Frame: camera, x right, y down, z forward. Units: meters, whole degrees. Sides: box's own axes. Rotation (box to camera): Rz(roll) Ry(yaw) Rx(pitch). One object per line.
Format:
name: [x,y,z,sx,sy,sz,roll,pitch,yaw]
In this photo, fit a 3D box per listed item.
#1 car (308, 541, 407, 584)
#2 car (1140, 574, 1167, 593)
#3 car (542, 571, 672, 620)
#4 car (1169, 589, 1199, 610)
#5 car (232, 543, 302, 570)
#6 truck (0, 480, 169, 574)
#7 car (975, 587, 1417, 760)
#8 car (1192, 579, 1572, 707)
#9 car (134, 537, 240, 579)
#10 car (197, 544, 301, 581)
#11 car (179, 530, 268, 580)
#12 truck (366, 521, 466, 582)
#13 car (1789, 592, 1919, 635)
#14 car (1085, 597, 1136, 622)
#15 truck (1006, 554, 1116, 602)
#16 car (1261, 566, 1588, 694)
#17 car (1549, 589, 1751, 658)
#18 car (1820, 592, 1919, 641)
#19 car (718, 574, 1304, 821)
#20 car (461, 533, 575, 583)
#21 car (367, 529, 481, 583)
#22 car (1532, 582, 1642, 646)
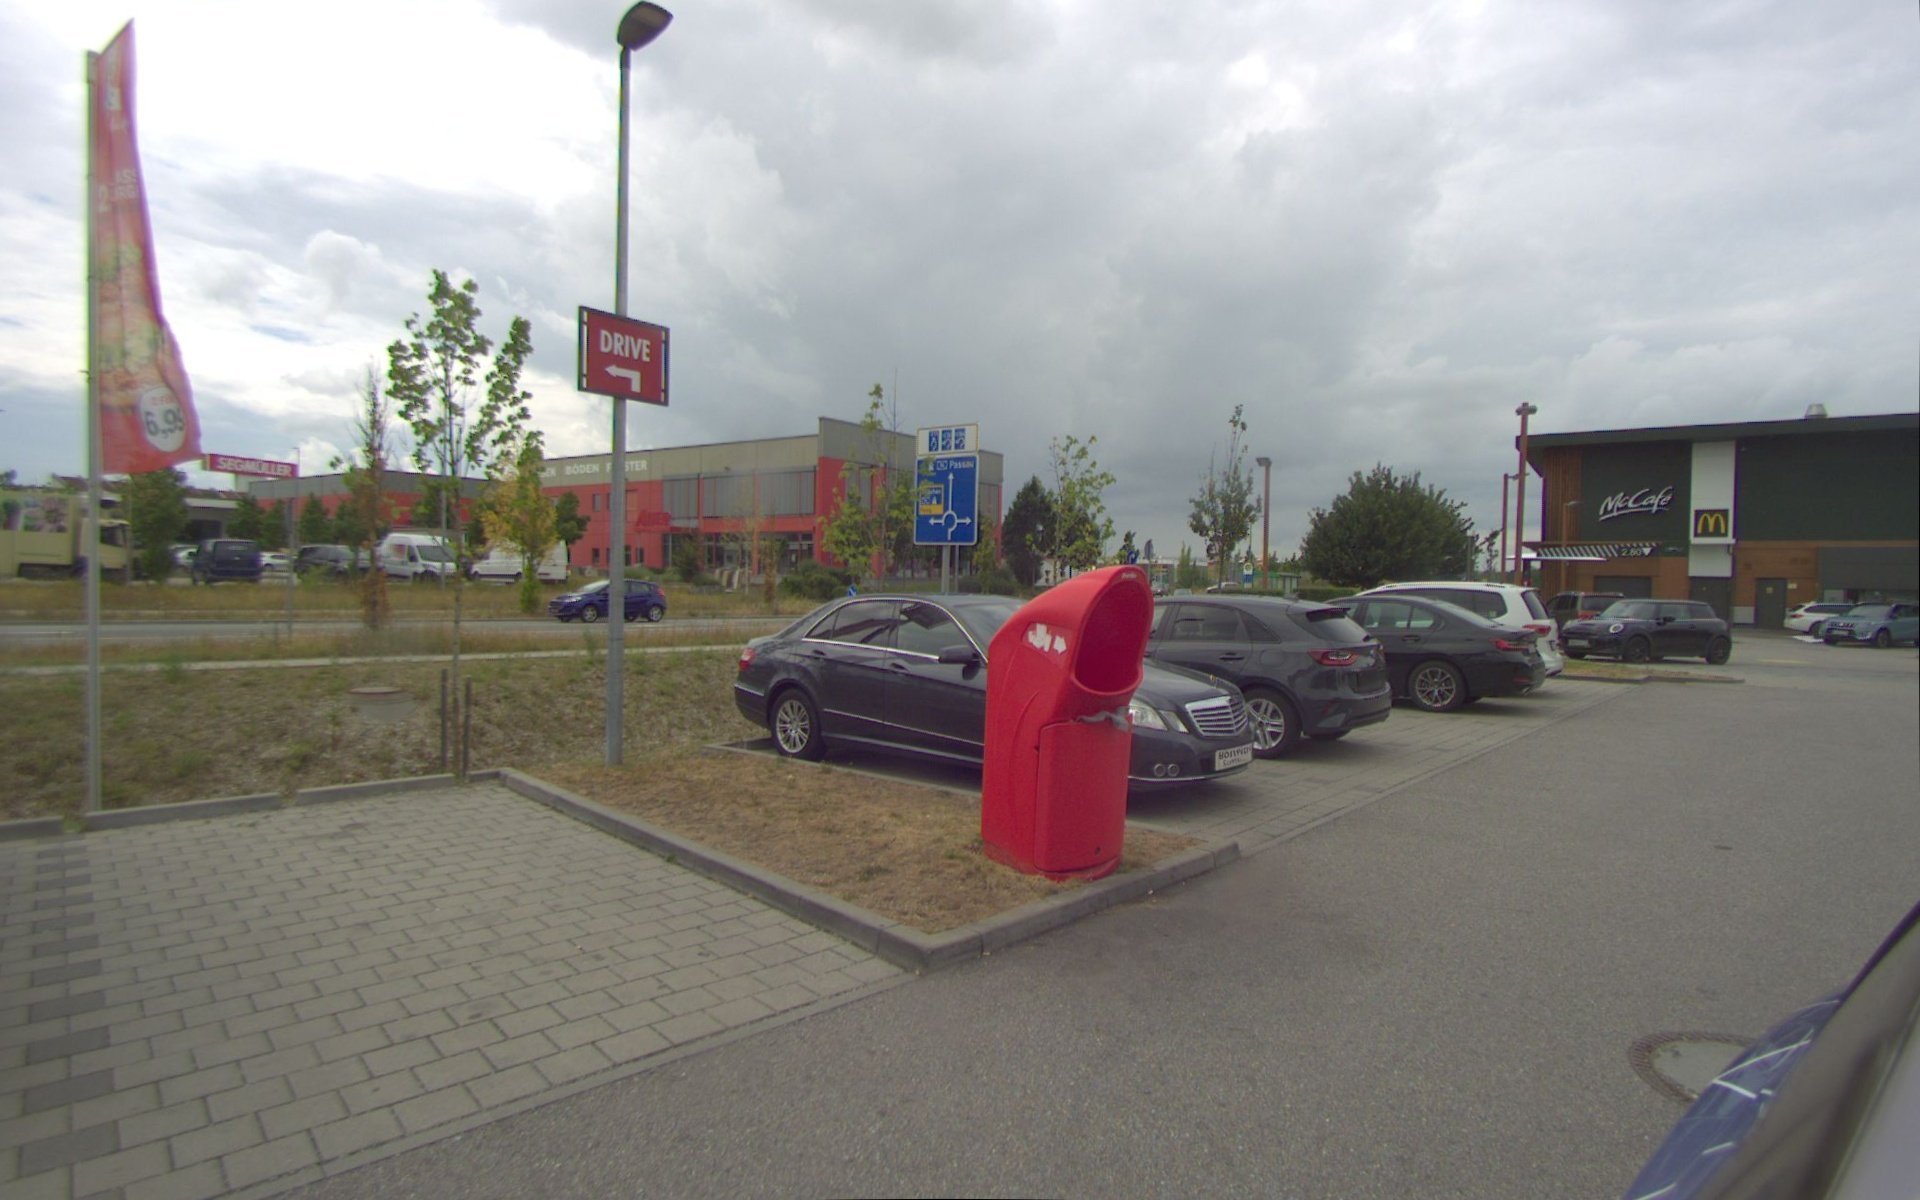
car: [-26.896,-1.691,45.122,5.043,1.659,2.050,4,2,37]
car: [19.625,-1.728,102.824,1.963,1.726,4.000,2,3,2]
car: [-11.738,-0.168,33.834,1.651,1.477,3.869,4,3,36]
car: [17.916,-0.021,80.827,1.733,1.510,4.102,2,0,20]
car: [-51.907,-3.218,75.864,1.991,1.860,3.943,4,3,39]
truck: [-34.954,-2.741,37.570,8.254,3.235,3.037,2,2,-15]
car: [2.299,0.607,10.393,4.050,1.430,1.862,0,0,39]
car: [5.668,0.503,13.910,4.493,1.485,1.920,0,0,39]
car: [-40.413,-2.161,52.998,1.983,2.038,3.959,3,3,29]
car: [-36.197,-1.878,51.589,1.880,1.759,3.948,4,3,36]
car: [-30.665,-1.833,42.092,5.052,1.908,2.046,2,1,43]
truck: [-36.432,-3.303,67.646,8.208,3.789,2.623,4,3,36]
car: [37.723,0.551,42.698,3.974,1.524,1.767,4,3,34]
car: [9.780,0.596,65.529,1.742,1.510,4.083,2,0,31]
truck: [10.621,-2.430,108.097,3.706,4.553,11.969,0,3,-45]
car: [7.209,0.409,15.927,4.350,1.735,1.964,0,0,39]
car: [15.647,0.525,22.995,3.847,1.430,1.691,2,0,-16]
car: [33.478,0.589,36.556,3.822,1.604,1.755,2,2,-16]
car: [0.167,0.580,8.339,4.723,1.475,1.883,0,0,42]
car: [-22.599,-2.165,51.658,6.465,2.295,2.316,4,3,35]
car: [-25.195,-2.094,47.511,6.026,2.241,2.384,4,2,37]
car: [19.286,0.356,31.327,1.786,1.710,4.169,3,2,17]
